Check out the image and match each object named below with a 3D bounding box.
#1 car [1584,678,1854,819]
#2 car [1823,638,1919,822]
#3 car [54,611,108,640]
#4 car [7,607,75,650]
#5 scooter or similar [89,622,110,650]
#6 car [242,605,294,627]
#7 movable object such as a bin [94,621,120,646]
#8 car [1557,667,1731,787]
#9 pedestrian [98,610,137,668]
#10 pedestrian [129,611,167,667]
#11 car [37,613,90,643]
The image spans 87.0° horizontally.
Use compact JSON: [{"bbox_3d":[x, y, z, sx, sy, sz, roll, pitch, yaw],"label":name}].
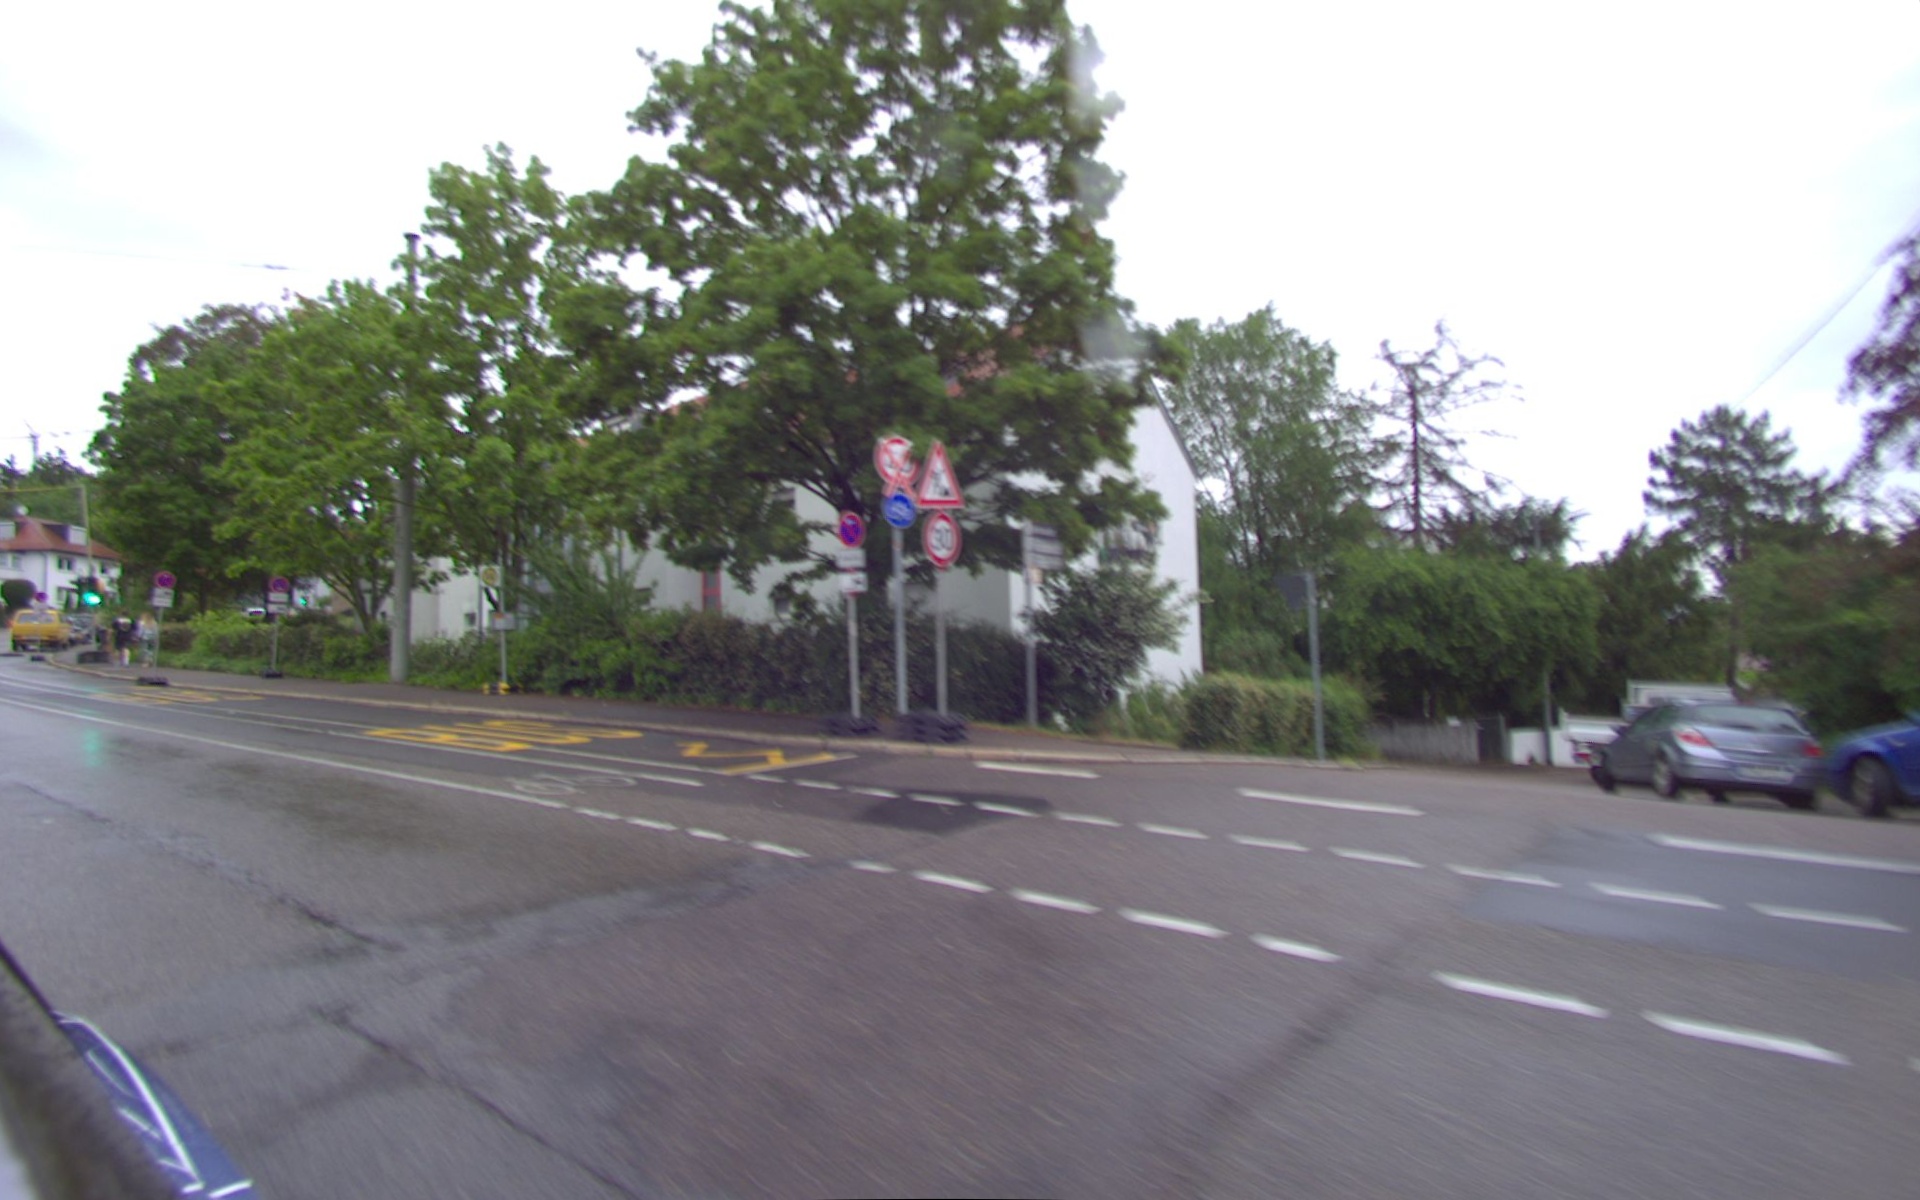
[{"bbox_3d":[10.517,1.960,14.419,1.827,1.505,4.056,0,-2,18],"label":"car"},{"bbox_3d":[9.789,1.225,8.431,1.816,1.678,3.941,1,-1,1],"label":"car"},{"bbox_3d":[-51.024,1.473,58.799,1.696,1.620,4.475,2,-1,-33],"label":"car"},{"bbox_3d":[-44.819,1.359,49.442,1.779,1.942,4.589,4,-2,-35],"label":"car"},{"bbox_3d":[-40.829,1.691,48.032,0.393,1.270,1.322,-2,1,-25],"label":"scooter or similar"},{"bbox_3d":[-60.653,1.382,88.730,1.783,1.814,4.468,1,-1,-5],"label":"car"},{"bbox_3d":[-40.049,1.569,47.514,0.847,1.149,0.714,2,0,-37],"label":"movable object such as a bin"},{"bbox_3d":[15.628,2.870,23.073,3.934,2.427,2.059,6,-5,-36],"label":"car"},{"bbox_3d":[-27.376,1.259,32.888,1.145,1.830,0.701,-2,-2,36],"label":"pedestrian"},{"bbox_3d":[-26.918,1.292,33.552,1.153,1.830,0.674,-2,-2,36],"label":"pedestrian"},{"bbox_3d":[-48.106,1.485,54.334,1.553,1.465,3.474,3,-1,-33],"label":"car"}]
